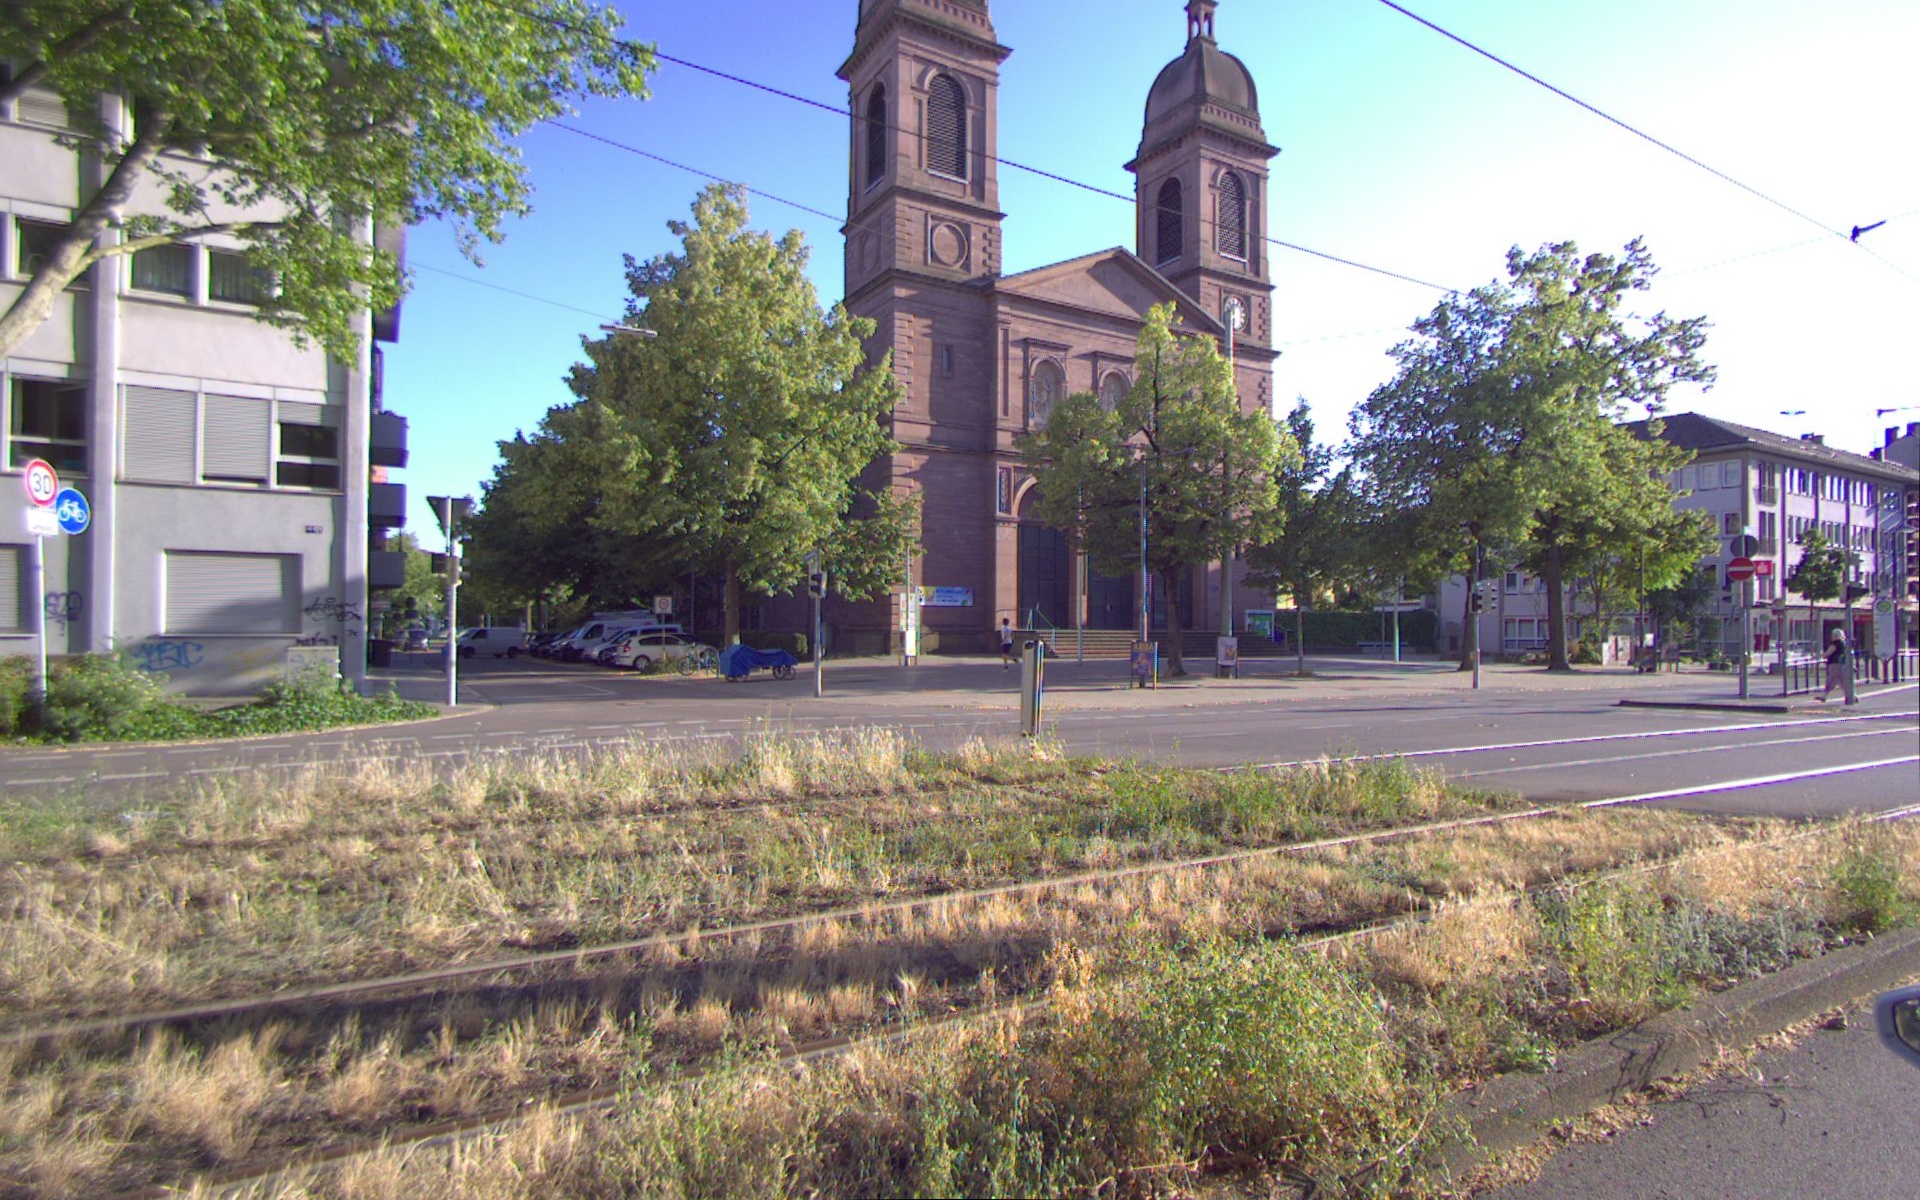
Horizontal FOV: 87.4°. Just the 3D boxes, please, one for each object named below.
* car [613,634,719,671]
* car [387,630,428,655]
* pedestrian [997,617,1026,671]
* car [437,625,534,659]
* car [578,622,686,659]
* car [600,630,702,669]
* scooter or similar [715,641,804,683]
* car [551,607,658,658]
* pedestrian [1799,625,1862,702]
[{"bbox_3d":[-12.200,2.135,41.740,3.953,1.416,1.802,0,-1,-30],"label":"car"},{"bbox_3d":[-47.005,3.616,85.394,1.985,2.040,5.360,2,-2,-41],"label":"car"},{"bbox_3d":[1.716,1.459,33.499,0.684,1.789,0.733,1,-1,-31],"label":"pedestrian"},{"bbox_3d":[-30.587,2.689,64.891,1.967,2.040,5.407,-1,-2,35],"label":"car"},{"bbox_3d":[-15.706,1.934,48.172,4.655,1.684,1.984,1,-2,-30],"label":"car"},{"bbox_3d":[-13.494,2.130,43.953,3.953,1.639,1.876,1,-2,-30],"label":"car"},{"bbox_3d":[-6.126,1.871,30.698,2.419,1.141,1.088,-1,0,-30],"label":"scooter or similar"},{"bbox_3d":[-18.637,1.698,52.726,5.054,2.551,1.984,1,-2,-30],"label":"car"},{"bbox_3d":[20.854,1.510,24.065,0.822,1.783,0.915,2,-2,-29],"label":"pedestrian"}]
